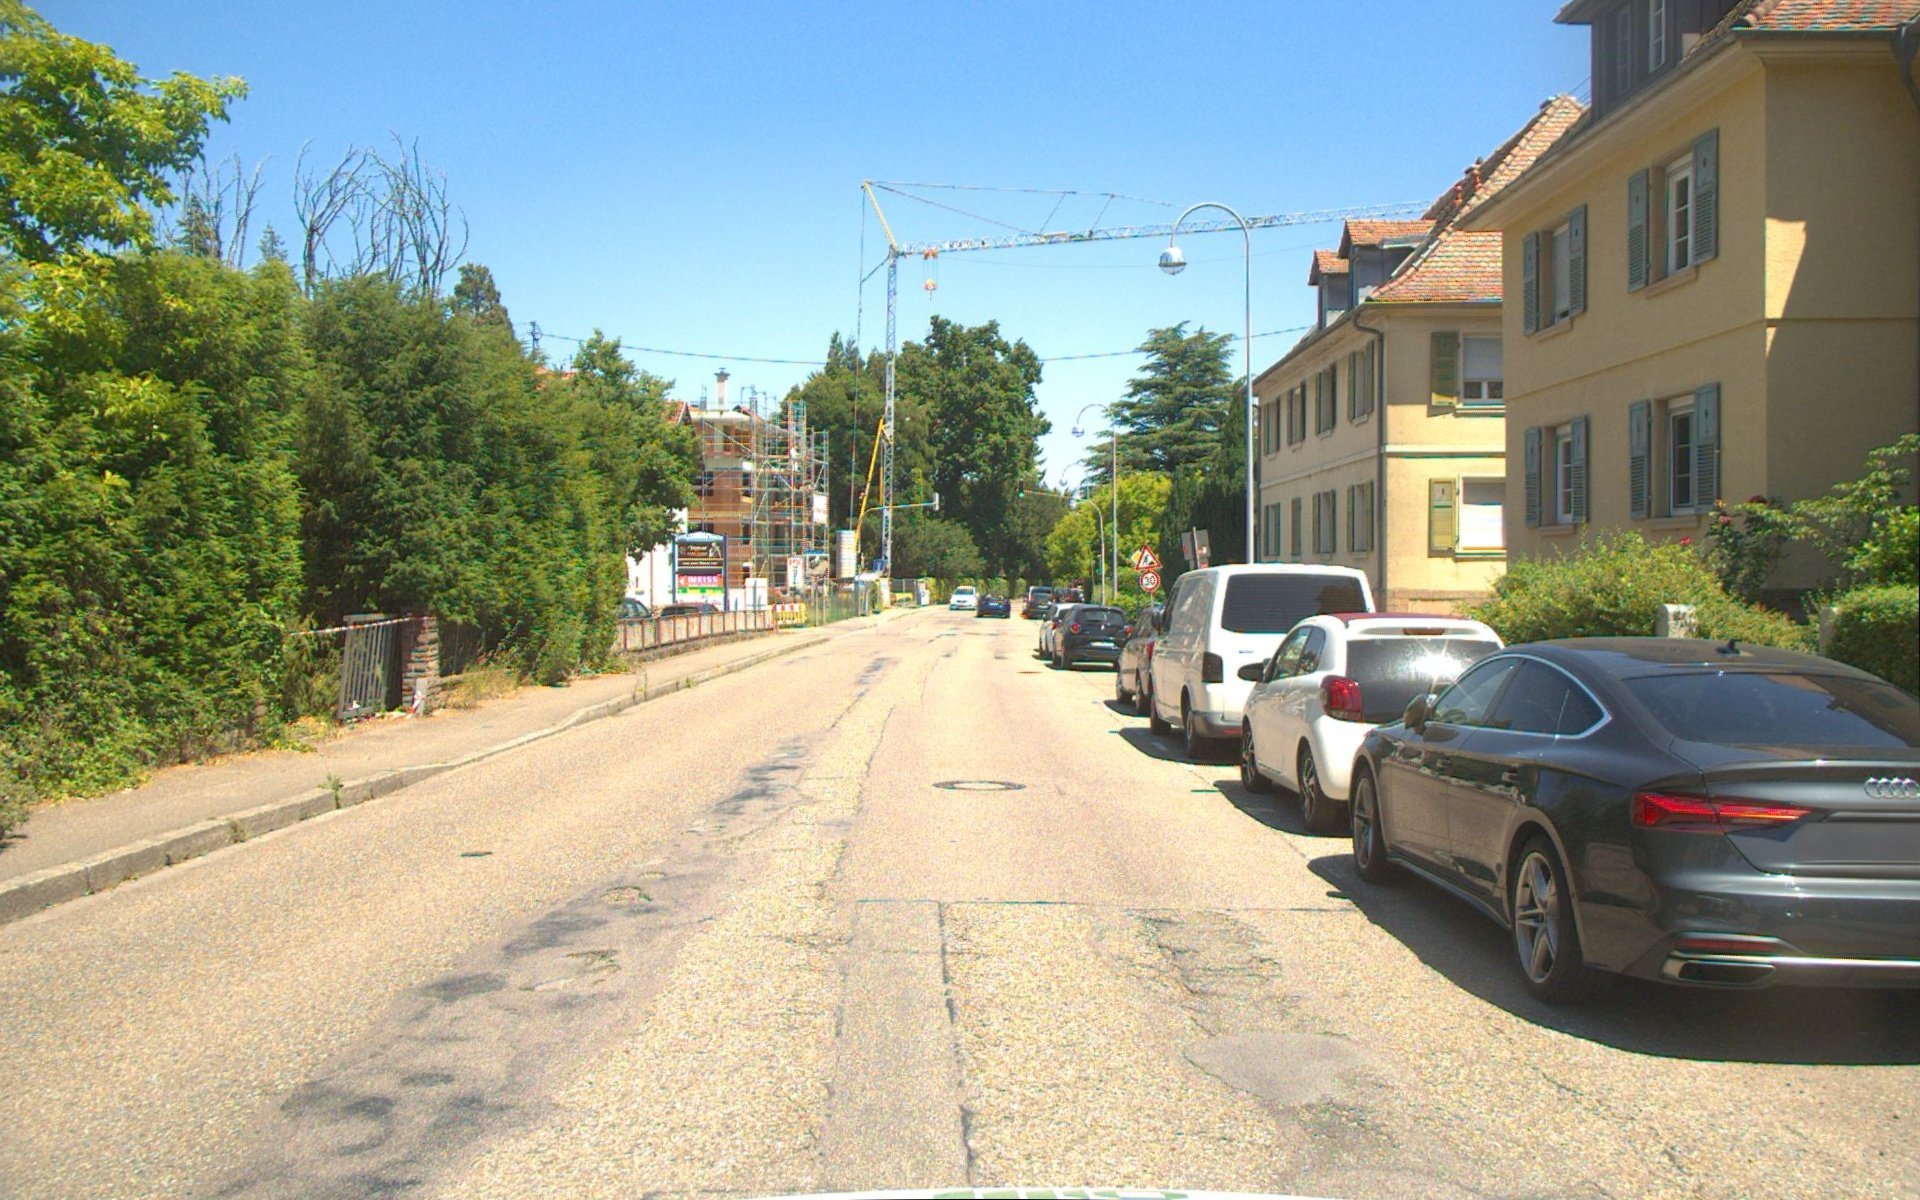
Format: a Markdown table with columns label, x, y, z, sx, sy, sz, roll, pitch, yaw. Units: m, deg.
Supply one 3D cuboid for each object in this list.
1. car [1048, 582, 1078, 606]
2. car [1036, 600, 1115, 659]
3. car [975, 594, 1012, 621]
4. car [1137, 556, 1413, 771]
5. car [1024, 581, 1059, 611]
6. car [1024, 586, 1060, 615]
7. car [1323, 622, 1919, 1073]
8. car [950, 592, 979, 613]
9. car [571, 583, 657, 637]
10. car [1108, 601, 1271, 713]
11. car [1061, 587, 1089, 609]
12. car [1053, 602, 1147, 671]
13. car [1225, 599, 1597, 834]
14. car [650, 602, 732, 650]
| label | x | y | z | sx | sy | sz | roll | pitch | yaw |
| --- | --- | --- | --- | --- | --- | --- | --- | --- | --- |
| car | 7.516 | -0.435 | 120.069 | 1.951 | 1.691 | 4.003 | -1 | 0 | 7 |
| car | 2.996 | 0.741 | 43.500 | 1.725 | 1.477 | 3.888 | 0 | 0 | -1 |
| car | 1.898 | 0.404 | 93.000 | 1.917 | 1.494 | 4.002 | 0 | 0 | 4 |
| car | 3.207 | 0.591 | 17.875 | 1.953 | 1.934 | 4.822 | 2 | 0 | -1 |
| car | 4.810 | -0.219 | 96.997 | 1.952 | 1.691 | 4.002 | -1 | 0 | 4 |
| car | 4.604 | 0.027 | 92.396 | 1.952 | 1.601 | 4.002 | -1 | 0 | 4 |
| car | 3.117 | 0.847 | 7.747 | 1.725 | 1.395 | 4.606 | 0 | 0 | -1 |
| car | 0.318 | 0.161 | 114.073 | 1.724 | 1.477 | 3.841 | 0 | 0 | 3 |
| car | -10.705 | 0.296 | 51.396 | 1.625 | 1.603 | 3.537 | -1 | 0 | 5 |
| car | 3.277 | 0.764 | 24.349 | 1.725 | 1.477 | 4.222 | 0 | 0 | -1 |
| car | 9.045 | -0.151 | 129.790 | 1.951 | 1.691 | 4.003 | -1 | 0 | 7 |
| car | 3.146 | 0.794 | 37.826 | 1.725 | 1.477 | 3.838 | 0 | 0 | -1 |
| car | 3.185 | 0.749 | 12.423 | 1.725 | 1.477 | 3.647 | 0 | 0 | -1 |
| car | -8.294 | 0.783 | 51.214 | 1.625 | 1.413 | 3.537 | -1 | 0 | 5 |
